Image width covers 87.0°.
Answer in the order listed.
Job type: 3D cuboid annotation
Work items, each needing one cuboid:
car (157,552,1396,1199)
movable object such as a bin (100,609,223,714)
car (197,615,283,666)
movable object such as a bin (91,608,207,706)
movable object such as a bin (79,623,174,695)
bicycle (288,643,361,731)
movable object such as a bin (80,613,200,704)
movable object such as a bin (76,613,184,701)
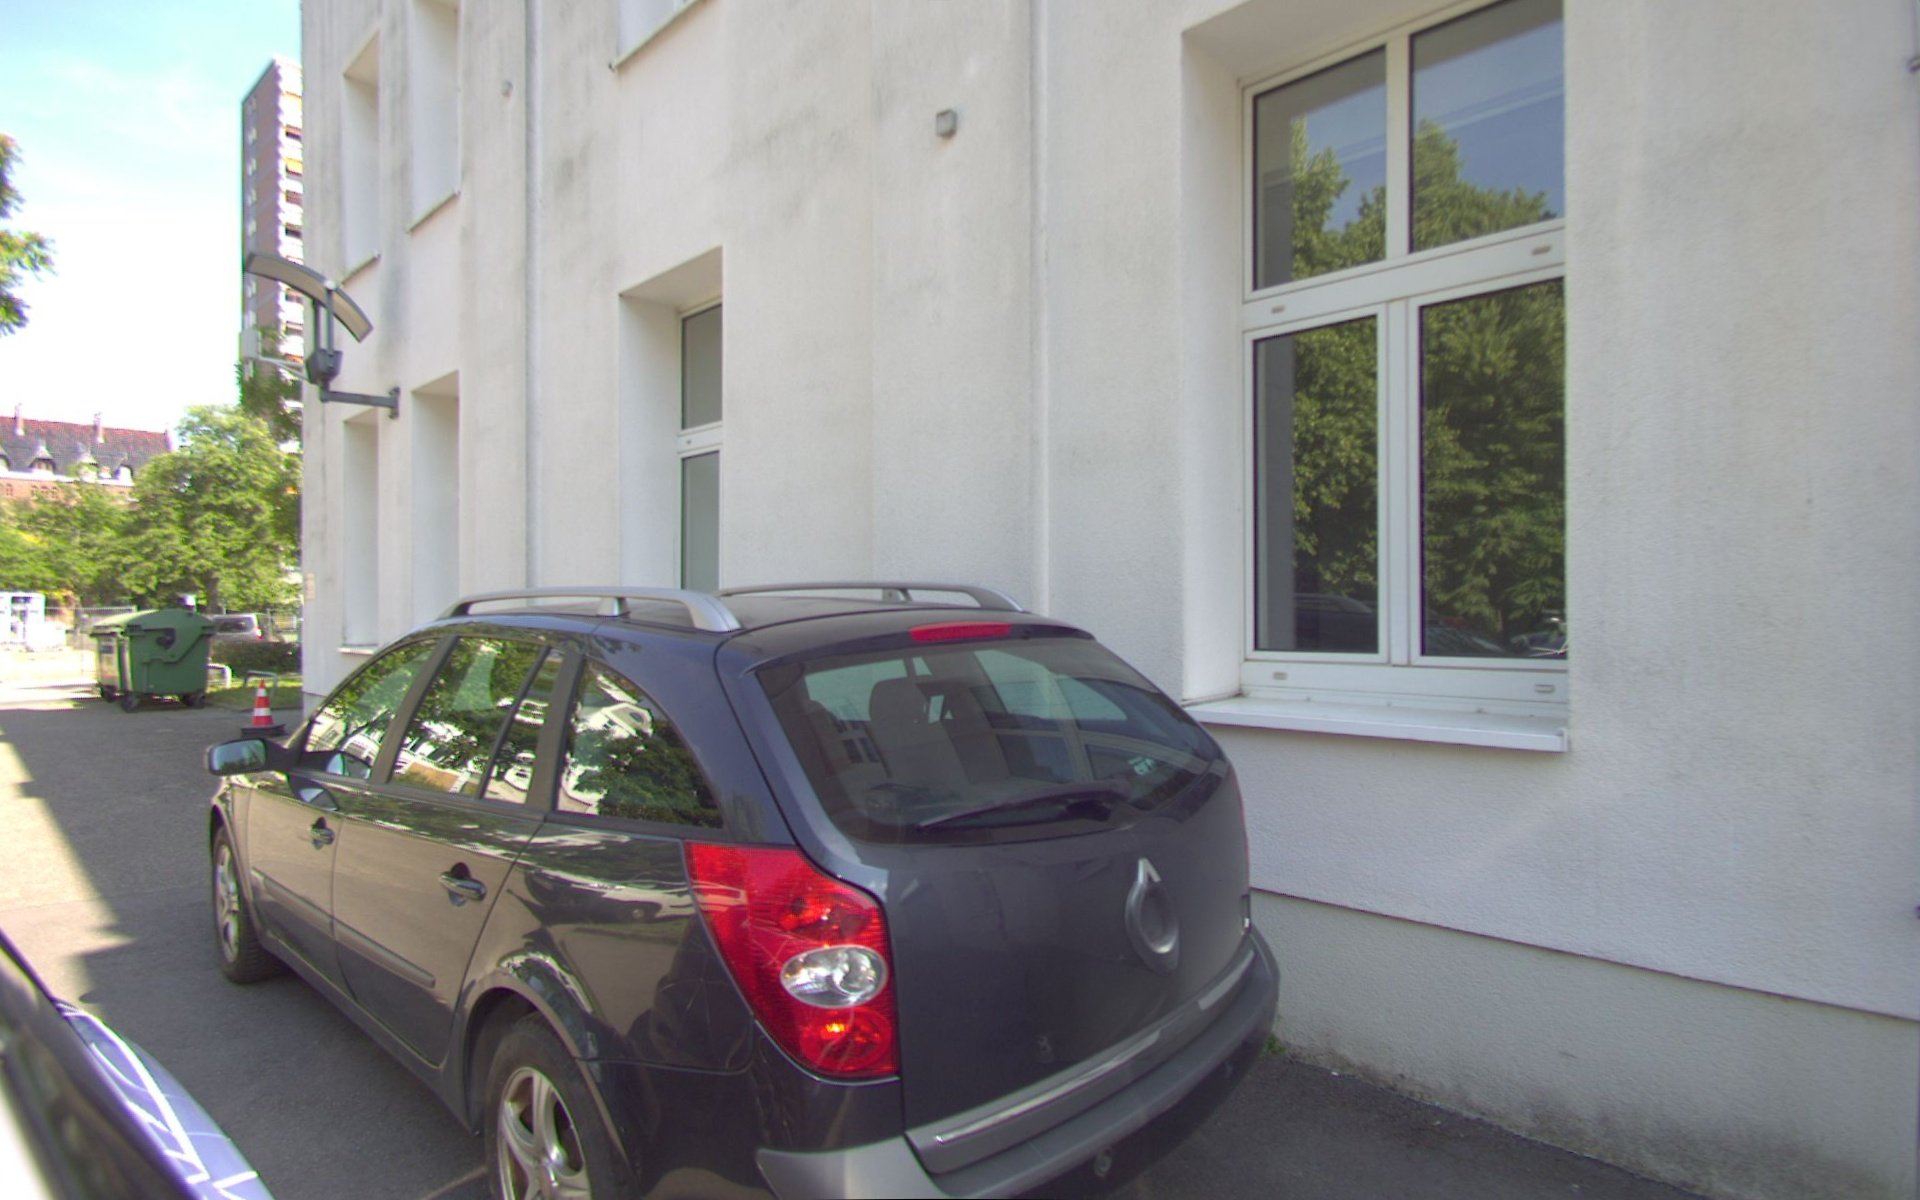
[{"bbox_3d":[-1.130,0.613,3.397,4.431,1.452,1.817,1,3,43],"label":"car"},{"bbox_3d":[-11.690,0.868,14.820,1.350,1.442,1.230,-2,-2,43],"label":"movable object such as a bin"},{"bbox_3d":[-27.828,1.508,39.251,1.888,1.794,4.327,-2,0,-24],"label":"car"},{"bbox_3d":[-12.746,0.861,15.904,1.366,1.442,1.230,-2,-2,43],"label":"movable object such as a bin"},{"bbox_3d":[-17.009,1.178,20.701,1.227,1.407,1.408,0,-1,-28],"label":"movable object such as a bin"},{"bbox_3d":[-7.696,1.018,12.233,0.439,1.000,1.542,2,-3,-43],"label":"bicycle"},{"bbox_3d":[-13.697,0.947,16.917,1.220,1.442,1.234,-1,-1,33],"label":"movable object such as a bin"},{"bbox_3d":[-14.690,0.977,17.915,1.337,1.493,1.232,-1,-2,38],"label":"movable object such as a bin"}]
